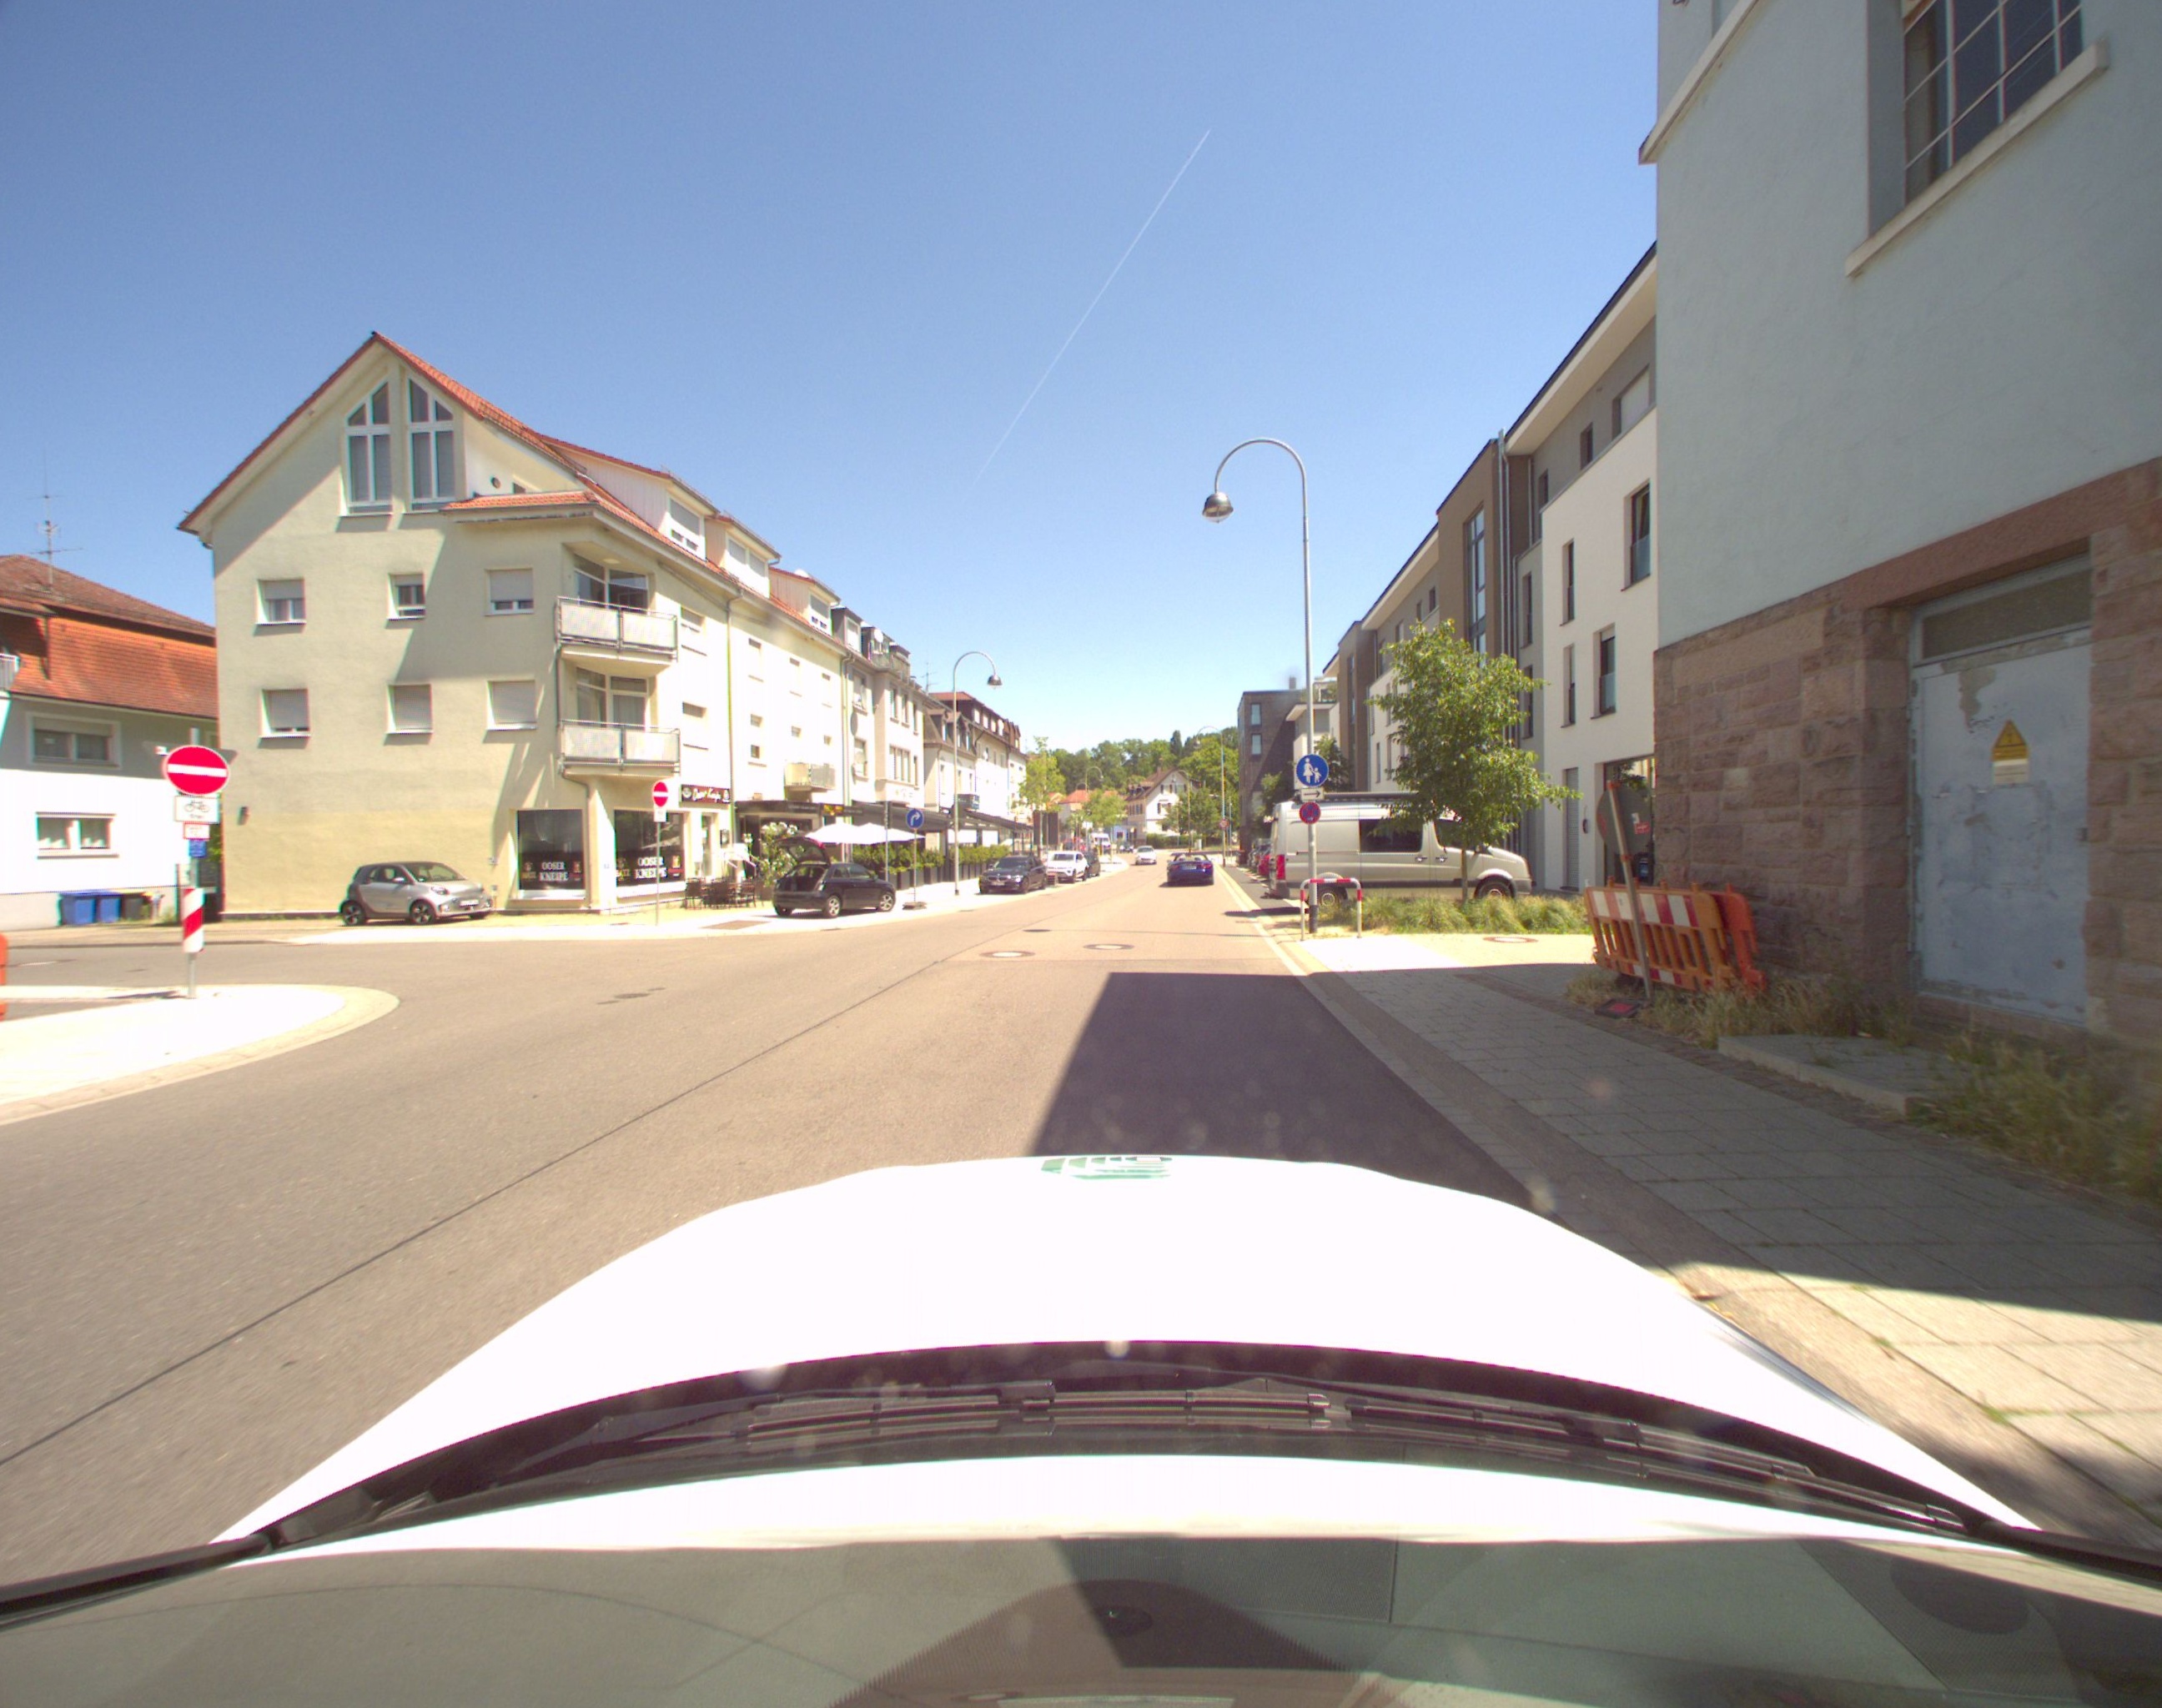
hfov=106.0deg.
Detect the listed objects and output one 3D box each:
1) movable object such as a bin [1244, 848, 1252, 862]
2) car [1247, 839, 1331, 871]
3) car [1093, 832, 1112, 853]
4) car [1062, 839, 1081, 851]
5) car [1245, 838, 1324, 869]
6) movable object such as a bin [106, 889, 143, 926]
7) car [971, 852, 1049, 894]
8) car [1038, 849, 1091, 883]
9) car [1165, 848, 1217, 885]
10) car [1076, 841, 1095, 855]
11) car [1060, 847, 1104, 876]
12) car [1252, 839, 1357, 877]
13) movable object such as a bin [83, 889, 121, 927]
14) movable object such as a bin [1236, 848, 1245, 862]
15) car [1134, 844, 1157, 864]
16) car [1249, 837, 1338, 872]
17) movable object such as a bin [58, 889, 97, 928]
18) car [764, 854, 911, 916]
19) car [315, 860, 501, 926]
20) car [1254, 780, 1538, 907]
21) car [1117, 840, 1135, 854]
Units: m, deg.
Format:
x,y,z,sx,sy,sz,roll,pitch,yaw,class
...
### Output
x,y,z,sx,sy,sz,roll,pitch,yaw,class
11.624,0.075,56.651,0.492,0.929,0.625,-3,0,9,movable object such as a bin
10.625,0.052,41.784,3.958,1.529,1.947,-1,0,7,car
2.472,-1.402,96.366,1.862,2.400,4.814,-1,1,-2,car
-1.414,-1.319,117.630,1.994,1.692,3.985,-1,1,-11,car
10.885,-0.033,43.773,3.958,1.529,1.744,-1,0,7,car
-31.952,1.770,27.205,0.588,1.193,0.543,-2,0,10,movable object such as a bin
-2.716,0.689,32.394,1.822,1.429,4.798,0,1,11,car
-0.751,0.532,40.013,1.633,1.479,3.956,1,1,14,car
4.735,0.495,34.631,1.858,1.342,4.610,-3,1,11,car
0.557,-0.817,105.426,1.990,1.738,3.994,-1,0,-5,car
0.097,0.394,45.463,1.659,1.443,4.023,-1,1,11,car
9.250,0.173,33.999,3.949,1.408,1.861,-2,0,7,car
-32.046,1.759,26.651,0.588,1.193,0.543,-2,0,10,movable object such as a bin
11.100,0.063,56.738,0.533,0.929,0.625,-3,0,9,movable object such as a bin
5.265,-0.031,65.667,1.678,1.458,4.065,-3,1,6,car
10.208,0.020,39.327,3.958,1.605,1.947,-1,0,7,car
-32.149,1.747,26.097,0.588,1.193,0.543,-2,0,10,movable object such as a bin
-6.479,0.766,22.194,1.698,1.460,4.149,1,0,19,car
-16.725,0.946,20.340,3.248,1.458,1.694,-1,1,4,car
7.199,-0.214,19.292,5.906,2.732,2.201,-1,0,8,car
5.518,-0.821,100.149,1.658,1.606,3.995,-3,1,-4,car
